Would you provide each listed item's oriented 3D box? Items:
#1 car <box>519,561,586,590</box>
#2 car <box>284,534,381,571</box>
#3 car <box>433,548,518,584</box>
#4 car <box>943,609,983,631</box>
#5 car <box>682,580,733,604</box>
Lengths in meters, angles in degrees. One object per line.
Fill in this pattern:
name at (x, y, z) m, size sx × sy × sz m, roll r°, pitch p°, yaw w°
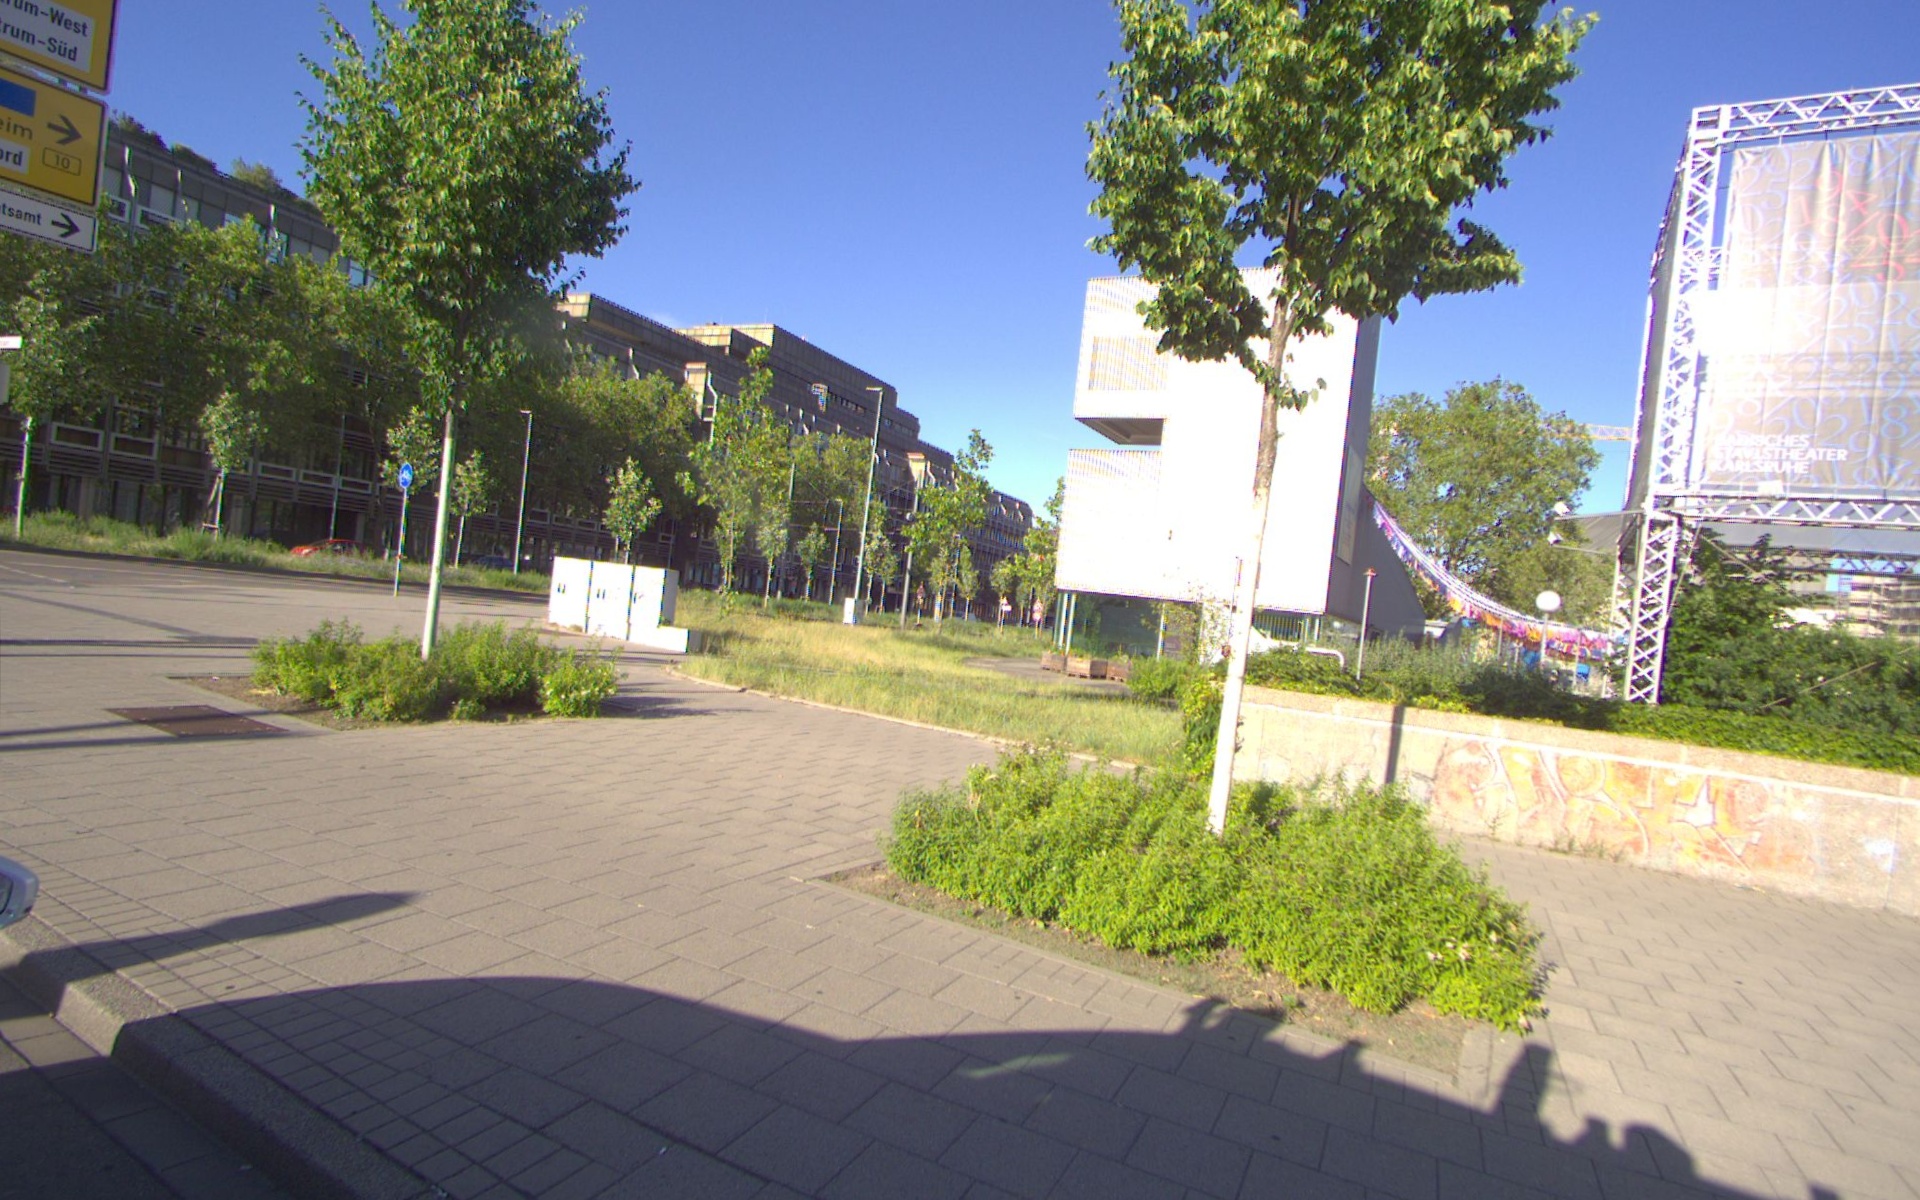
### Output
car at (-29.007, -1.725, 71.675) m, size 1.966 × 1.539 × 3.995 m, roll 7°, pitch 0°, yaw 29°
car at (-32.999, -2.457, 53.004) m, size 1.814 × 1.504 × 3.875 m, roll 3°, pitch -2°, yaw 27°
car at (-31.788, -2.226, 66.167) m, size 1.964 × 1.700 × 4.868 m, roll 8°, pitch -1°, yaw 23°
car at (0.375, 2.315, 115.594) m, size 2.226 × 2.038 × 5.705 m, roll 4°, pitch -2°, yaw 25°
car at (-21.857, -0.700, 87.109) m, size 1.834 × 1.615 × 4.274 m, roll 6°, pitch -2°, yaw 26°
